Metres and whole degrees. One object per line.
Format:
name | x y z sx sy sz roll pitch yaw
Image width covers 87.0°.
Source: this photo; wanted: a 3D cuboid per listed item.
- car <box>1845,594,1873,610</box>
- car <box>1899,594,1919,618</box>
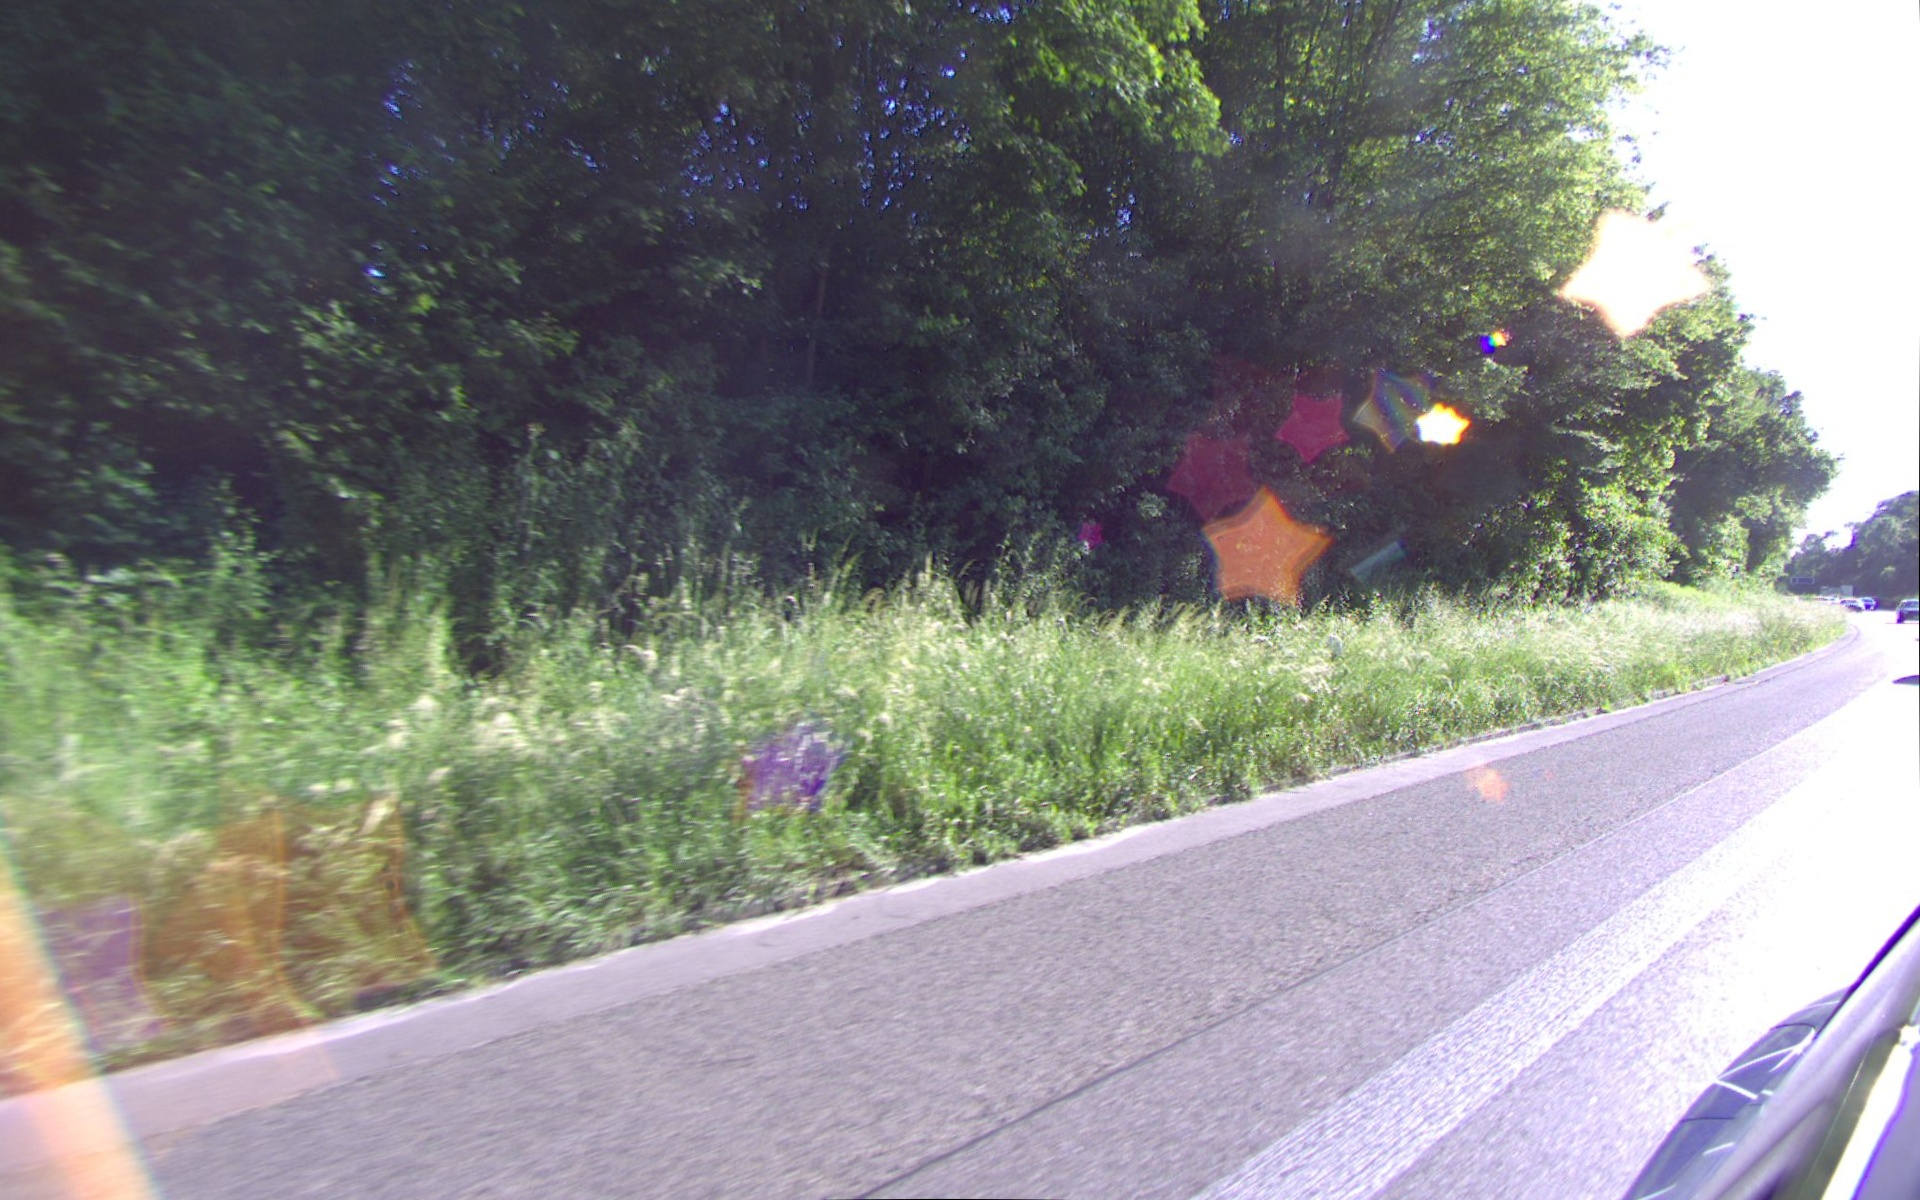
car | 96.013 0.192 108.078 1.925 1.526 5.018 -1 2 38
car | 63.527 0.382 66.721 1.926 1.526 5.015 3 2 39
